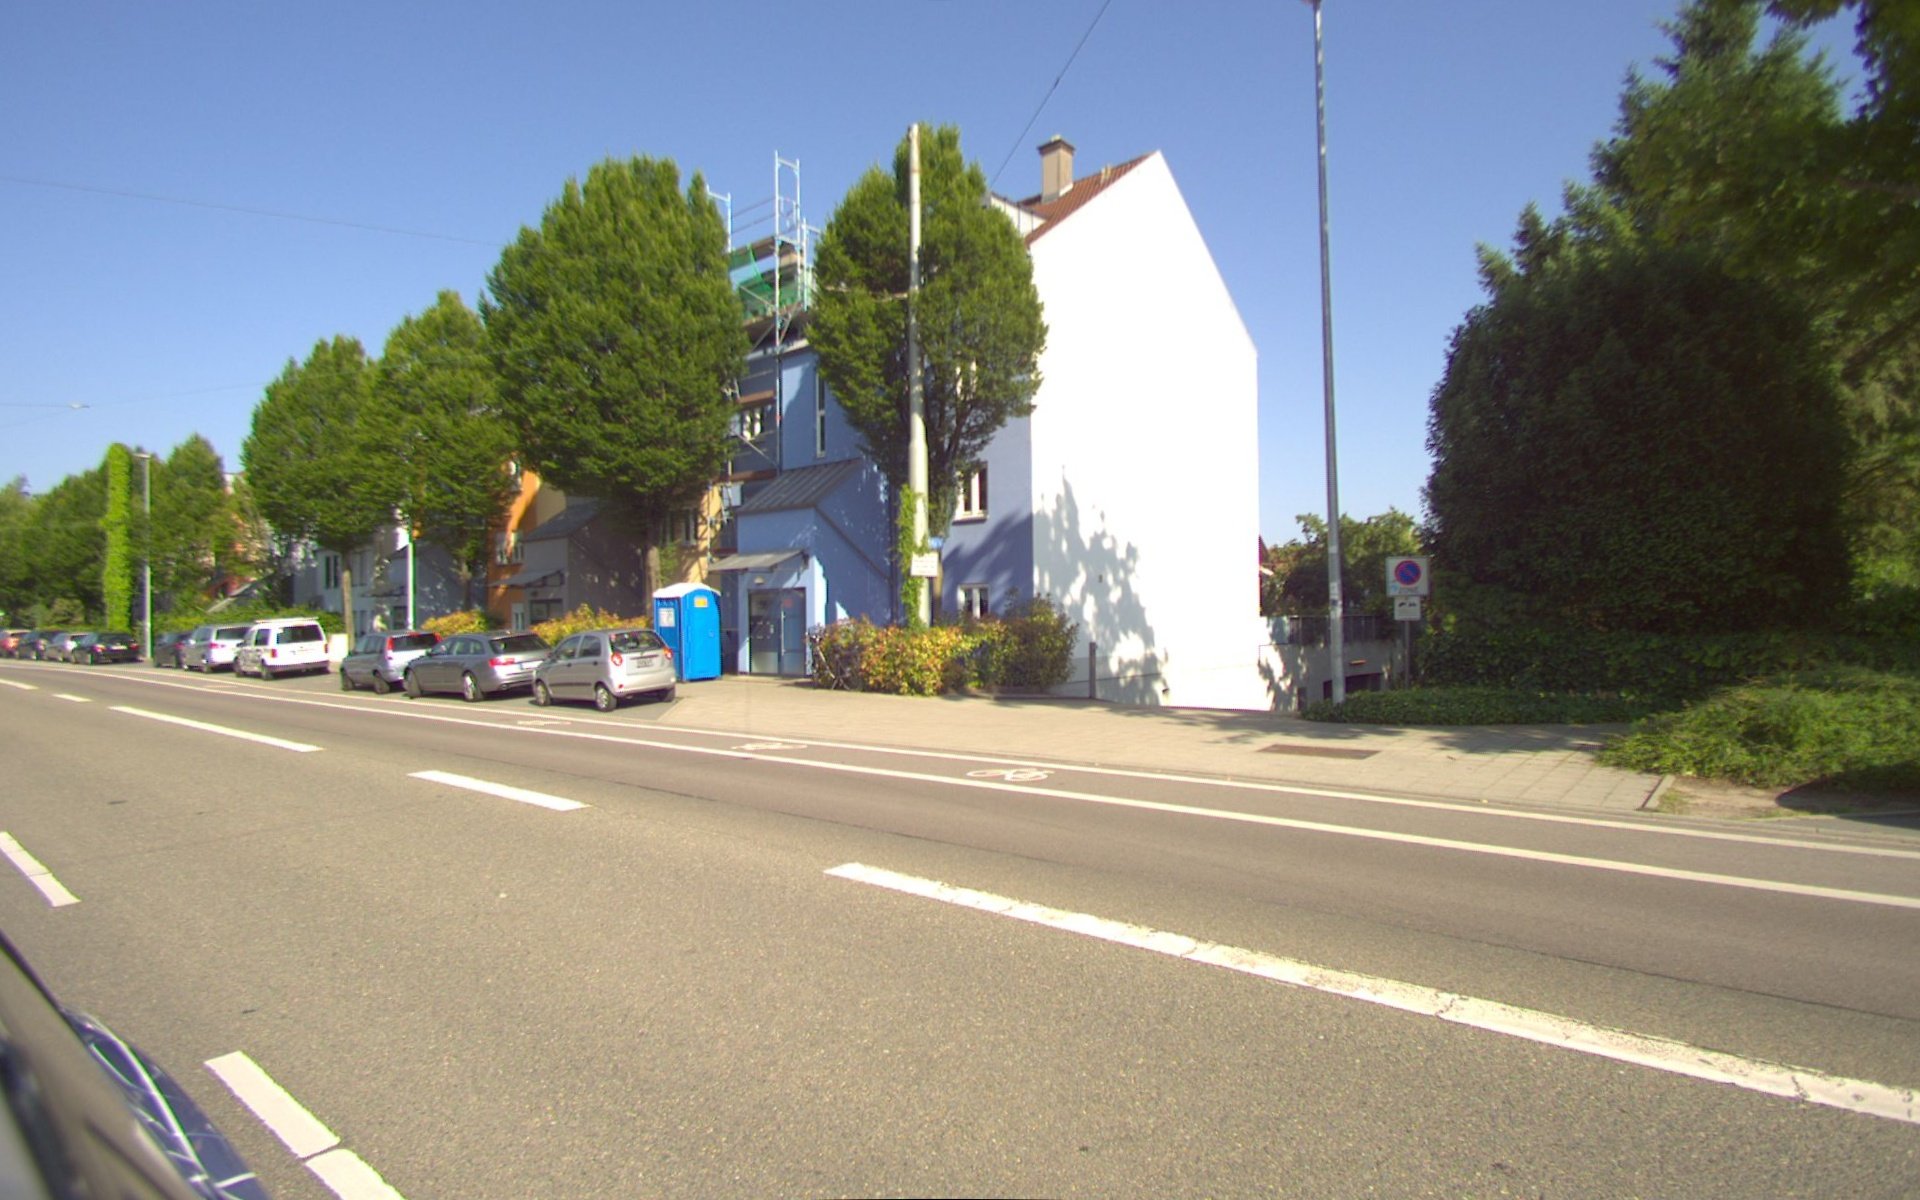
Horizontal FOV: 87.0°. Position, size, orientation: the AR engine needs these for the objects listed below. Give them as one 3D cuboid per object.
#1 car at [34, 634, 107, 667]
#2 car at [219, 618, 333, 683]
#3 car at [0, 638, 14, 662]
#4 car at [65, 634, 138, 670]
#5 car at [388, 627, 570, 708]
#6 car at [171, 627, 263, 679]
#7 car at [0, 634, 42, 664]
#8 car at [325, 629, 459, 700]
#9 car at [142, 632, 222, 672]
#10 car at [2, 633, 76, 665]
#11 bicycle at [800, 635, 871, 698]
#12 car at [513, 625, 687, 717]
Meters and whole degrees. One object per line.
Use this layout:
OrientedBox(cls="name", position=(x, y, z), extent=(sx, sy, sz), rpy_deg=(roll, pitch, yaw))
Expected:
OrientedBox(cls="car", position=(-44.966, 2.524, 51.153), extent=(4.834, 1.482, 1.697), rpy_deg=(-1, 1, 36))
OrientedBox(cls="car", position=(-22.467, 1.625, 33.181), extent=(4.575, 1.859, 1.746), rpy_deg=(-2, 3, 39))
OrientedBox(cls="car", position=(-58.524, 3.018, 60.640), extent=(4.700, 1.435, 1.638), rpy_deg=(-2, -2, 34))
OrientedBox(cls="car", position=(-40.321, 2.414, 47.490), extent=(4.903, 1.483, 1.693), rpy_deg=(-2, 1, 39))
OrientedBox(cls="car", position=(-11.036, 1.477, 23.071), extent=(4.749, 1.522, 1.733), rpy_deg=(-2, 3, 38))
OrientedBox(cls="car", position=(-27.247, 1.894, 37.054), extent=(4.821, 1.713, 1.651), rpy_deg=(-2, 0, 41))
OrientedBox(cls="car", position=(-54.109, 2.758, 57.673), extent=(4.151, 1.586, 1.748), rpy_deg=(-1, -1, 34))
OrientedBox(cls="car", position=(-14.910, 1.625, 26.478), extent=(3.979, 1.550, 1.745), rpy_deg=(-2, 3, 41))
OrientedBox(cls="car", position=(-31.313, 2.058, 40.681), extent=(4.053, 1.477, 1.600), rpy_deg=(-2, 0, 39))
OrientedBox(cls="car", position=(-49.355, 2.582, 54.223), extent=(4.420, 1.586, 1.750), rpy_deg=(-1, 0, 31))
OrientedBox(cls="bicycle", position=(-2.464, 1.277, 19.935), extent=(0.438, 1.163, 1.786), rpy_deg=(0, -1, -42))
OrientedBox(cls="car", position=(-7.120, 1.332, 19.891), extent=(3.506, 1.505, 1.585), rpy_deg=(-2, 3, 40))
